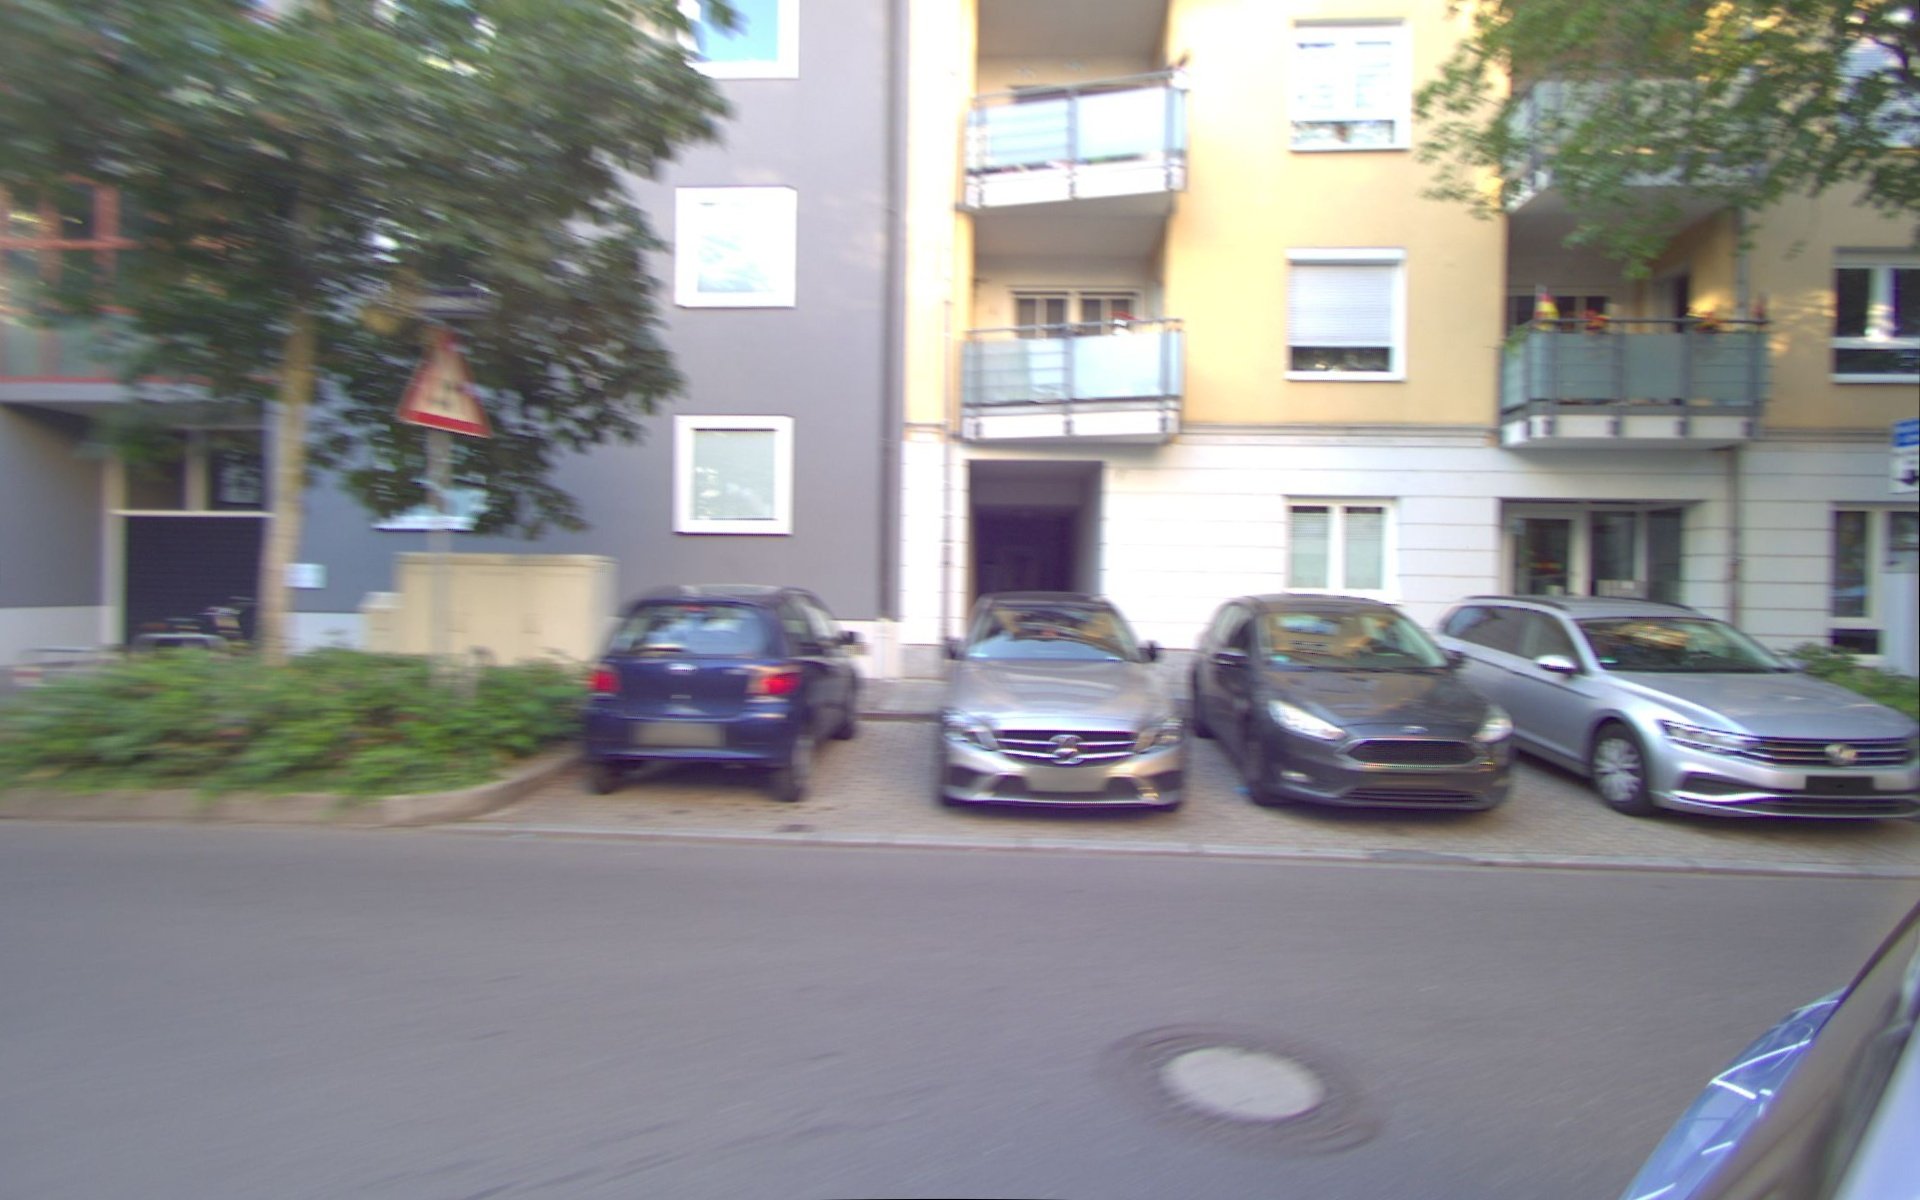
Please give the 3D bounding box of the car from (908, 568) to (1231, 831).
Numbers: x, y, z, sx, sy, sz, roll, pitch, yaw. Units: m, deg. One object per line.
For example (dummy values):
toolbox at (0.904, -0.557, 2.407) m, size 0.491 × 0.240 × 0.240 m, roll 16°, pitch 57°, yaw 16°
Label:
car at (0.746, 0.585, 8.574) m, size 1.974 × 1.591 × 4.634 m, roll 1°, pitch 0°, yaw 2°

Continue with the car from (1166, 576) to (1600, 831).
car at (3.102, 0.613, 8.682) m, size 1.955 × 1.539 × 4.793 m, roll 1°, pitch 0°, yaw 4°

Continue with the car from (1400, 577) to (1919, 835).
car at (5.651, 0.595, 8.471) m, size 1.924 × 1.521 × 4.637 m, roll 1°, pitch 2°, yaw 1°

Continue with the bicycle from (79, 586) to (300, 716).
bicycle at (-8.042, 0.502, 10.611) m, size 1.772 × 1.250 × 0.829 m, roll 1°, pitch 1°, yaw 7°

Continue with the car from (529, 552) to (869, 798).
car at (-1.874, 0.457, 8.395) m, size 1.798 × 1.583 × 3.549 m, roll 1°, pitch 1°, yaw 2°
